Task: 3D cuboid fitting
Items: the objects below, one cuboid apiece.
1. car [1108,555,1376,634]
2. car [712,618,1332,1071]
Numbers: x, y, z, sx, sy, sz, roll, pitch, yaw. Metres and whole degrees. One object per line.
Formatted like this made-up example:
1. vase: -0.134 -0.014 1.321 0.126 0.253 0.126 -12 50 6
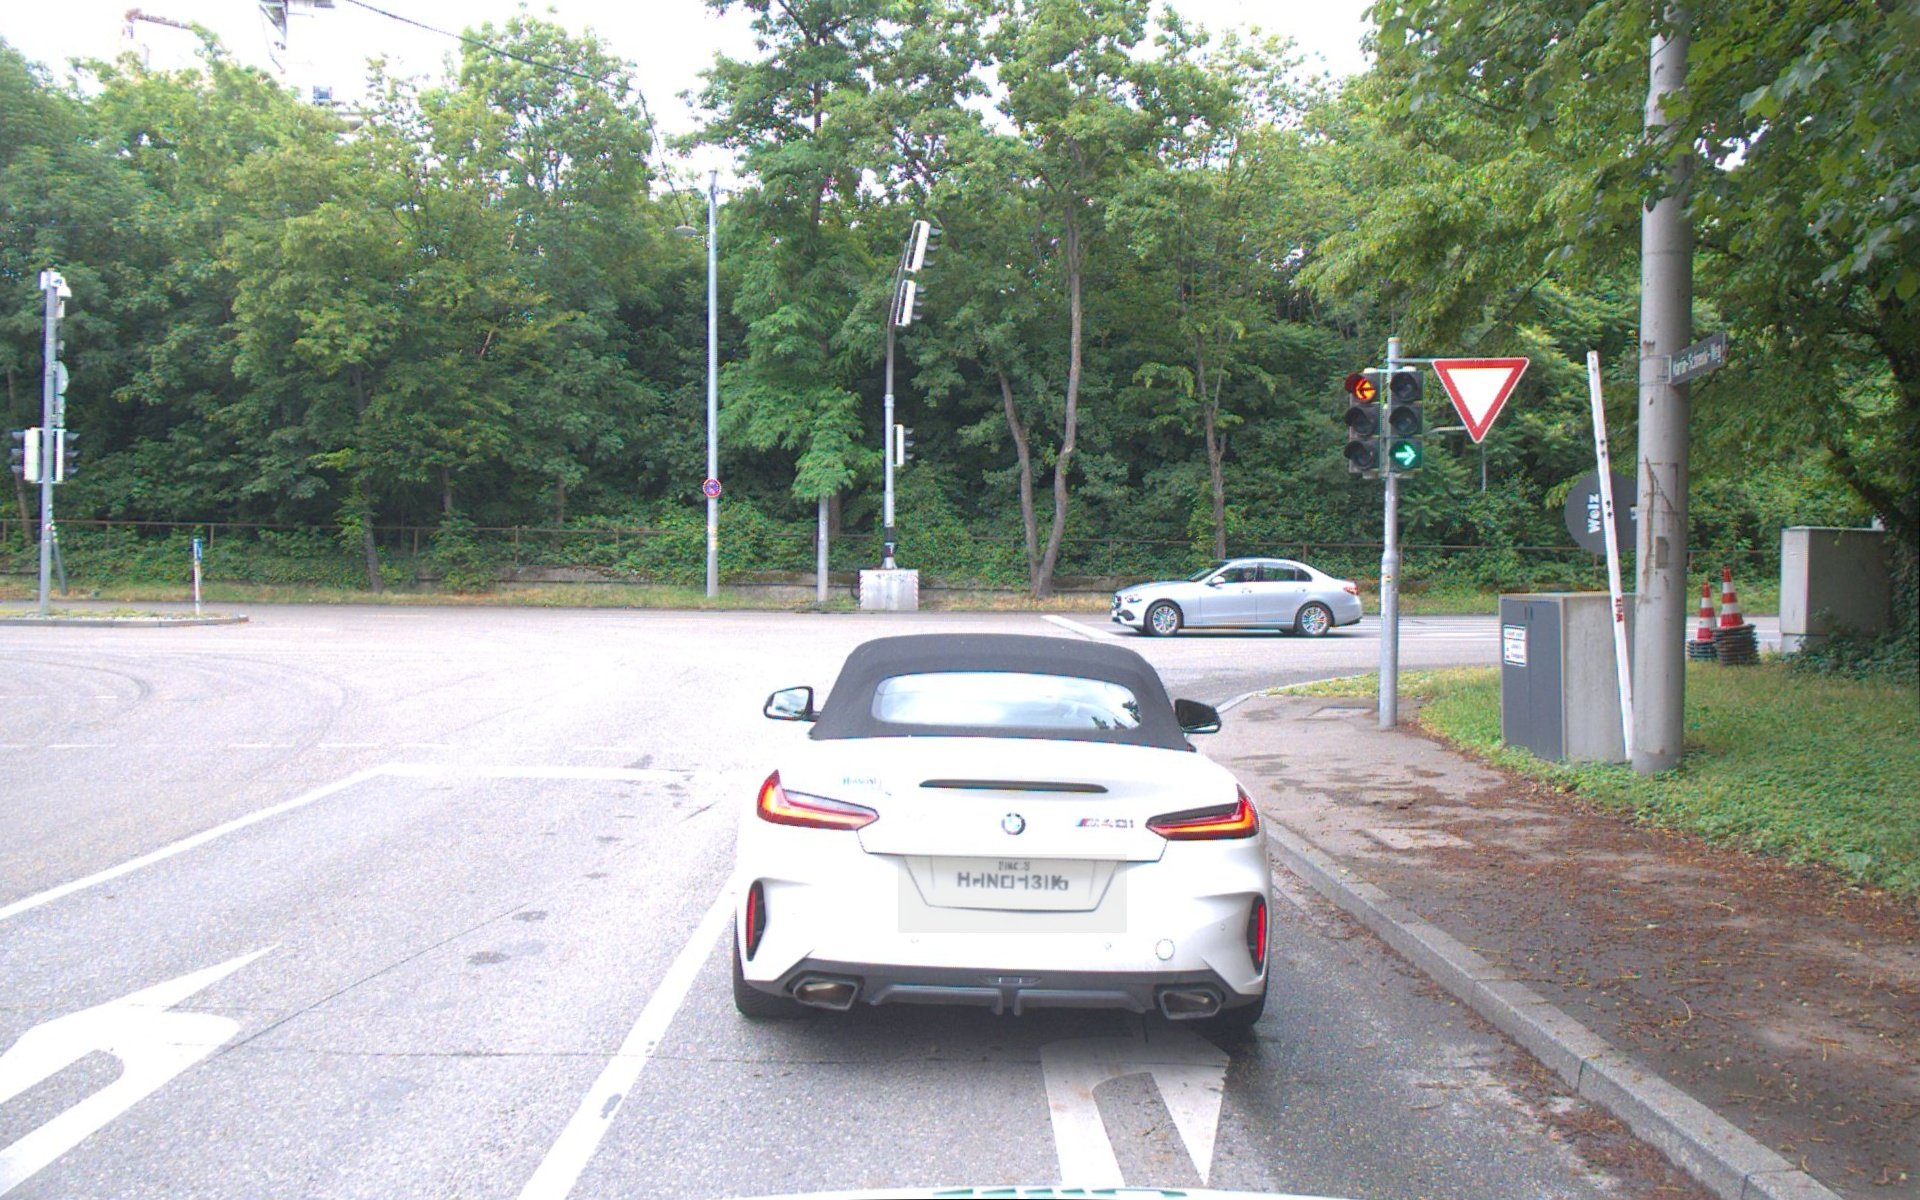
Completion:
1. car: 5.225 -0.121 31.014 4.657 1.356 1.833 1 3 -4
2. car: 0.096 0.761 6.838 1.791 1.279 3.997 2 -1 -3
